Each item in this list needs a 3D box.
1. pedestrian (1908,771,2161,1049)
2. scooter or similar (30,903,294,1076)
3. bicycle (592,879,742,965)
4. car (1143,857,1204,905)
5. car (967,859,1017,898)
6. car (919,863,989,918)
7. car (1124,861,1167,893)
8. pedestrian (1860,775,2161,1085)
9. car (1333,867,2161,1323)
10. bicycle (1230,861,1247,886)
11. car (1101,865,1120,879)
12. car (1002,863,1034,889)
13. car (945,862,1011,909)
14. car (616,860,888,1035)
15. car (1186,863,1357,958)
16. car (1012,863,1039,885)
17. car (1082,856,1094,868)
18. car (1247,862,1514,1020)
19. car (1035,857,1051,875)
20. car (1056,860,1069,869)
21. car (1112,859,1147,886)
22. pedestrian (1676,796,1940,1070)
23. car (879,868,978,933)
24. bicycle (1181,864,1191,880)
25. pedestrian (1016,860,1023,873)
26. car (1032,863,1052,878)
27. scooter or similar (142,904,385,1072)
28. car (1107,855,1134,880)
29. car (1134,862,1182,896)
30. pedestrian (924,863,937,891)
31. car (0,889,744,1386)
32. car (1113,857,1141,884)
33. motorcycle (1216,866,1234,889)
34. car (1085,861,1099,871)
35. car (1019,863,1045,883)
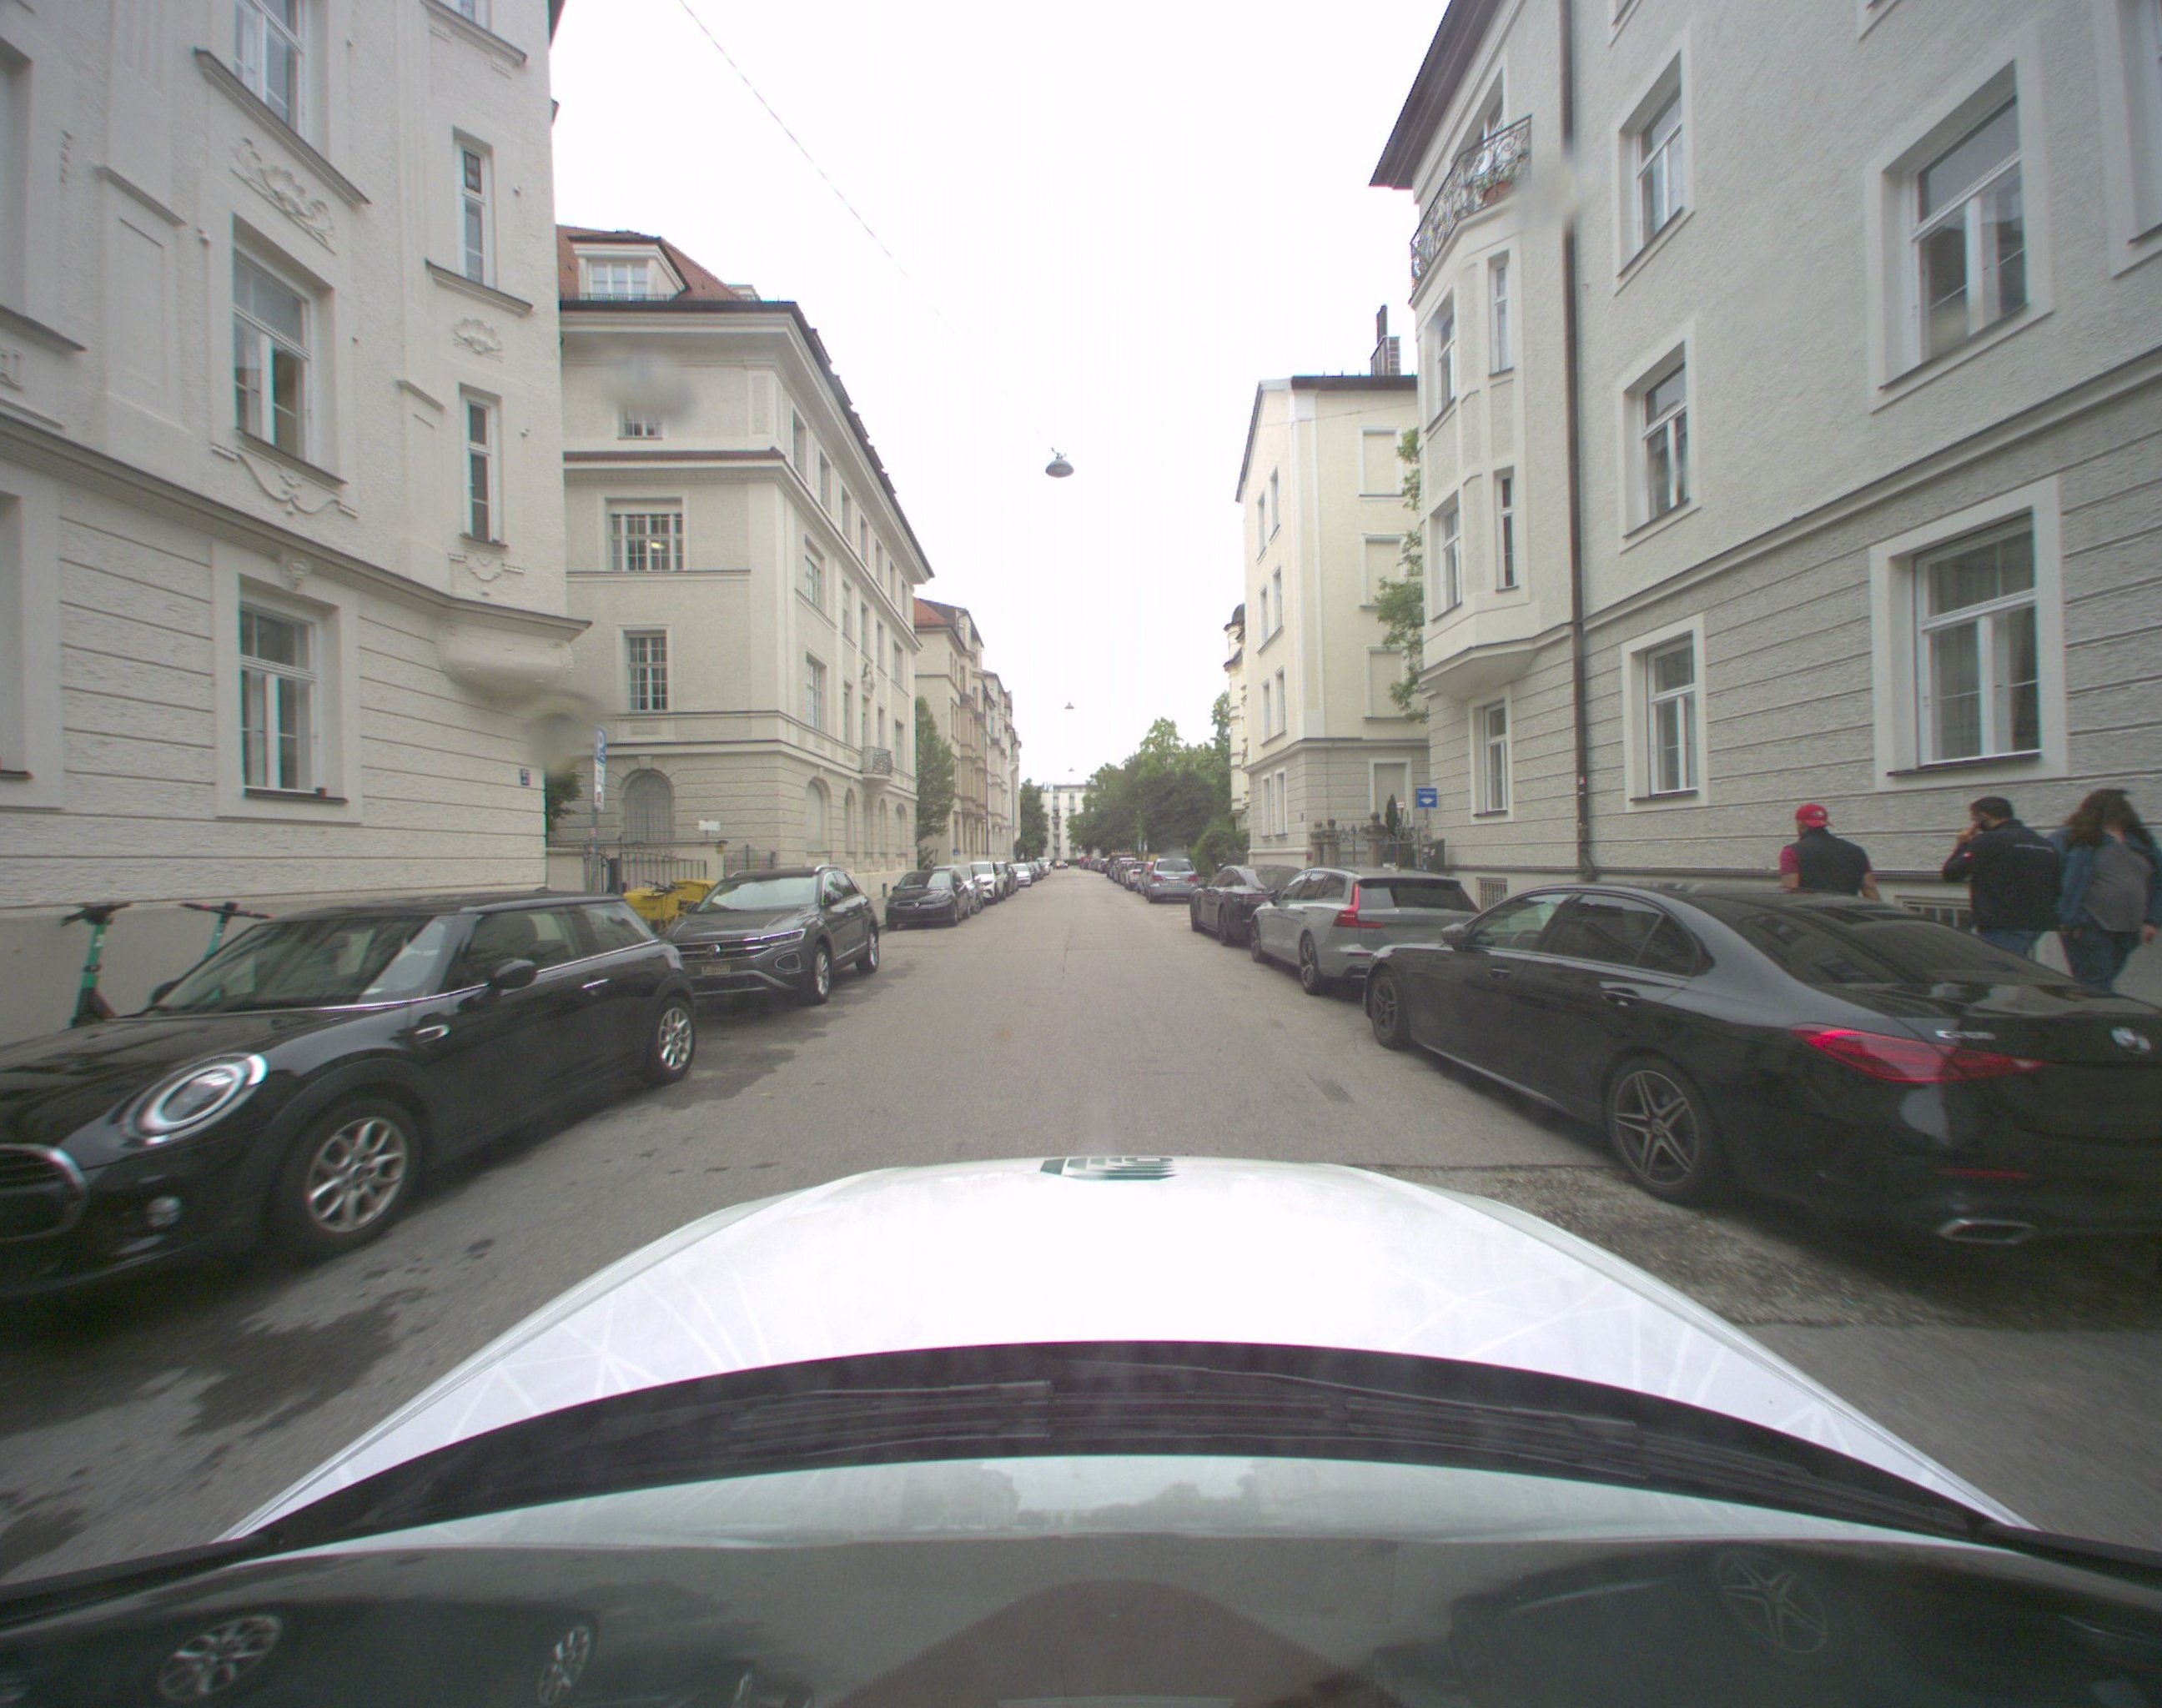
[{"bbox_3d":[7.205,0.365,6.024,0.880,1.813,1.111,-5,-1,0],"label":"pedestrian"},{"bbox_3d":[-7.766,1.082,6.990,0.492,1.222,1.548,-1,-1,0],"label":"scooter or similar"},{"bbox_3d":[-7.101,1.119,14.226,1.148,1.242,2.716,3,0,1],"label":"bicycle"},{"bbox_3d":[3.292,0.911,29.683,1.815,1.569,4.402,1,0,2],"label":"car"},{"bbox_3d":[-3.977,1.049,37.058,1.831,1.619,4.243,-1,0,-1],"label":"car"},{"bbox_3d":[-4.033,1.121,26.470,1.779,1.541,4.251,-3,0,-4],"label":"car"},{"bbox_3d":[3.177,1.108,40.693,1.779,1.504,4.064,0,-1,0],"label":"car"},{"bbox_3d":[6.149,0.446,5.361,0.880,1.786,1.111,-3,0,0],"label":"pedestrian"},{"bbox_3d":[3.438,0.838,5.221,1.833,1.399,4.967,1,0,-4],"label":"car"},{"bbox_3d":[7.372,0.893,38.185,0.433,1.126,1.881,-1,0,0],"label":"bicycle"},{"bbox_3d":[3.040,1.904,85.784,1.833,1.413,4.341,0,-1,0],"label":"car"},{"bbox_3d":[-4.012,1.370,52.355,1.832,1.434,4.241,-3,0,-2],"label":"car"},{"bbox_3d":[-3.909,1.142,31.529,1.909,1.619,4.571,-1,0,0],"label":"car"},{"bbox_3d":[-3.735,0.940,10.100,1.722,1.619,4.118,-3,0,-2],"label":"car"},{"bbox_3d":[3.408,0.942,15.621,1.989,1.457,4.708,-2,0,-2],"label":"car"},{"bbox_3d":[-4.160,1.482,61.775,1.828,1.434,4.550,-3,0,-2],"label":"car"},{"bbox_3d":[1.205,1.283,136.241,1.829,1.927,4.006,1,0,2],"label":"car"},{"bbox_3d":[3.430,0.883,10.298,1.755,1.485,4.420,1,0,0],"label":"car"},{"bbox_3d":[-4.914,1.520,106.483,1.882,2.127,4.702,-4,0,-2],"label":"car"},{"bbox_3d":[-3.079,1.735,134.730,1.871,1.428,4.401,-2,0,-5],"label":"car"},{"bbox_3d":[3.115,1.185,53.014,1.746,1.610,4.418,1,0,-4],"label":"car"},{"bbox_3d":[5.344,0.535,6.088,0.880,1.811,1.111,-3,0,0],"label":"pedestrian"},{"bbox_3d":[-3.955,1.151,21.776,1.787,1.415,4.277,-4,-1,-1],"label":"car"},{"bbox_3d":[7.350,1.229,57.037,0.453,1.098,1.312,-1,-1,-2],"label":"bicycle"},{"bbox_3d":[-7.759,1.558,102.749,0.792,1.679,0.698,-1,-1,-10],"label":"pedestrian"},{"bbox_3d":[-4.164,1.764,87.993,1.830,1.438,4.274,-4,0,0],"label":"car"},{"bbox_3d":[-6.984,1.082,7.074,0.530,1.200,1.548,-1,-1,0],"label":"scooter or similar"},{"bbox_3d":[3.203,1.085,67.552,1.945,1.954,4.664,0,0,-1],"label":"car"},{"bbox_3d":[3.312,1.051,35.475,1.749,1.406,3.450,0,-1,0],"label":"car"},{"bbox_3d":[-9.069,1.385,49.108,0.672,1.626,0.630,-1,-1,-3],"label":"pedestrian"},{"bbox_3d":[-3.834,1.044,4.759,1.830,1.394,4.245,-3,0,1],"label":"car"},{"bbox_3d":[3.262,1.160,58.056,1.717,1.769,4.412,1,-1,0],"label":"car"},{"bbox_3d":[7.101,1.153,40.175,0.604,1.112,1.966,-1,-1,3],"label":"motorcycle"},{"bbox_3d":[1.671,1.826,124.365,1.835,1.519,3.941,0,-1,-4],"label":"car"},{"bbox_3d":[-4.006,1.576,67.380,1.830,1.436,4.244,-4,0,0],"label":"car"}]
